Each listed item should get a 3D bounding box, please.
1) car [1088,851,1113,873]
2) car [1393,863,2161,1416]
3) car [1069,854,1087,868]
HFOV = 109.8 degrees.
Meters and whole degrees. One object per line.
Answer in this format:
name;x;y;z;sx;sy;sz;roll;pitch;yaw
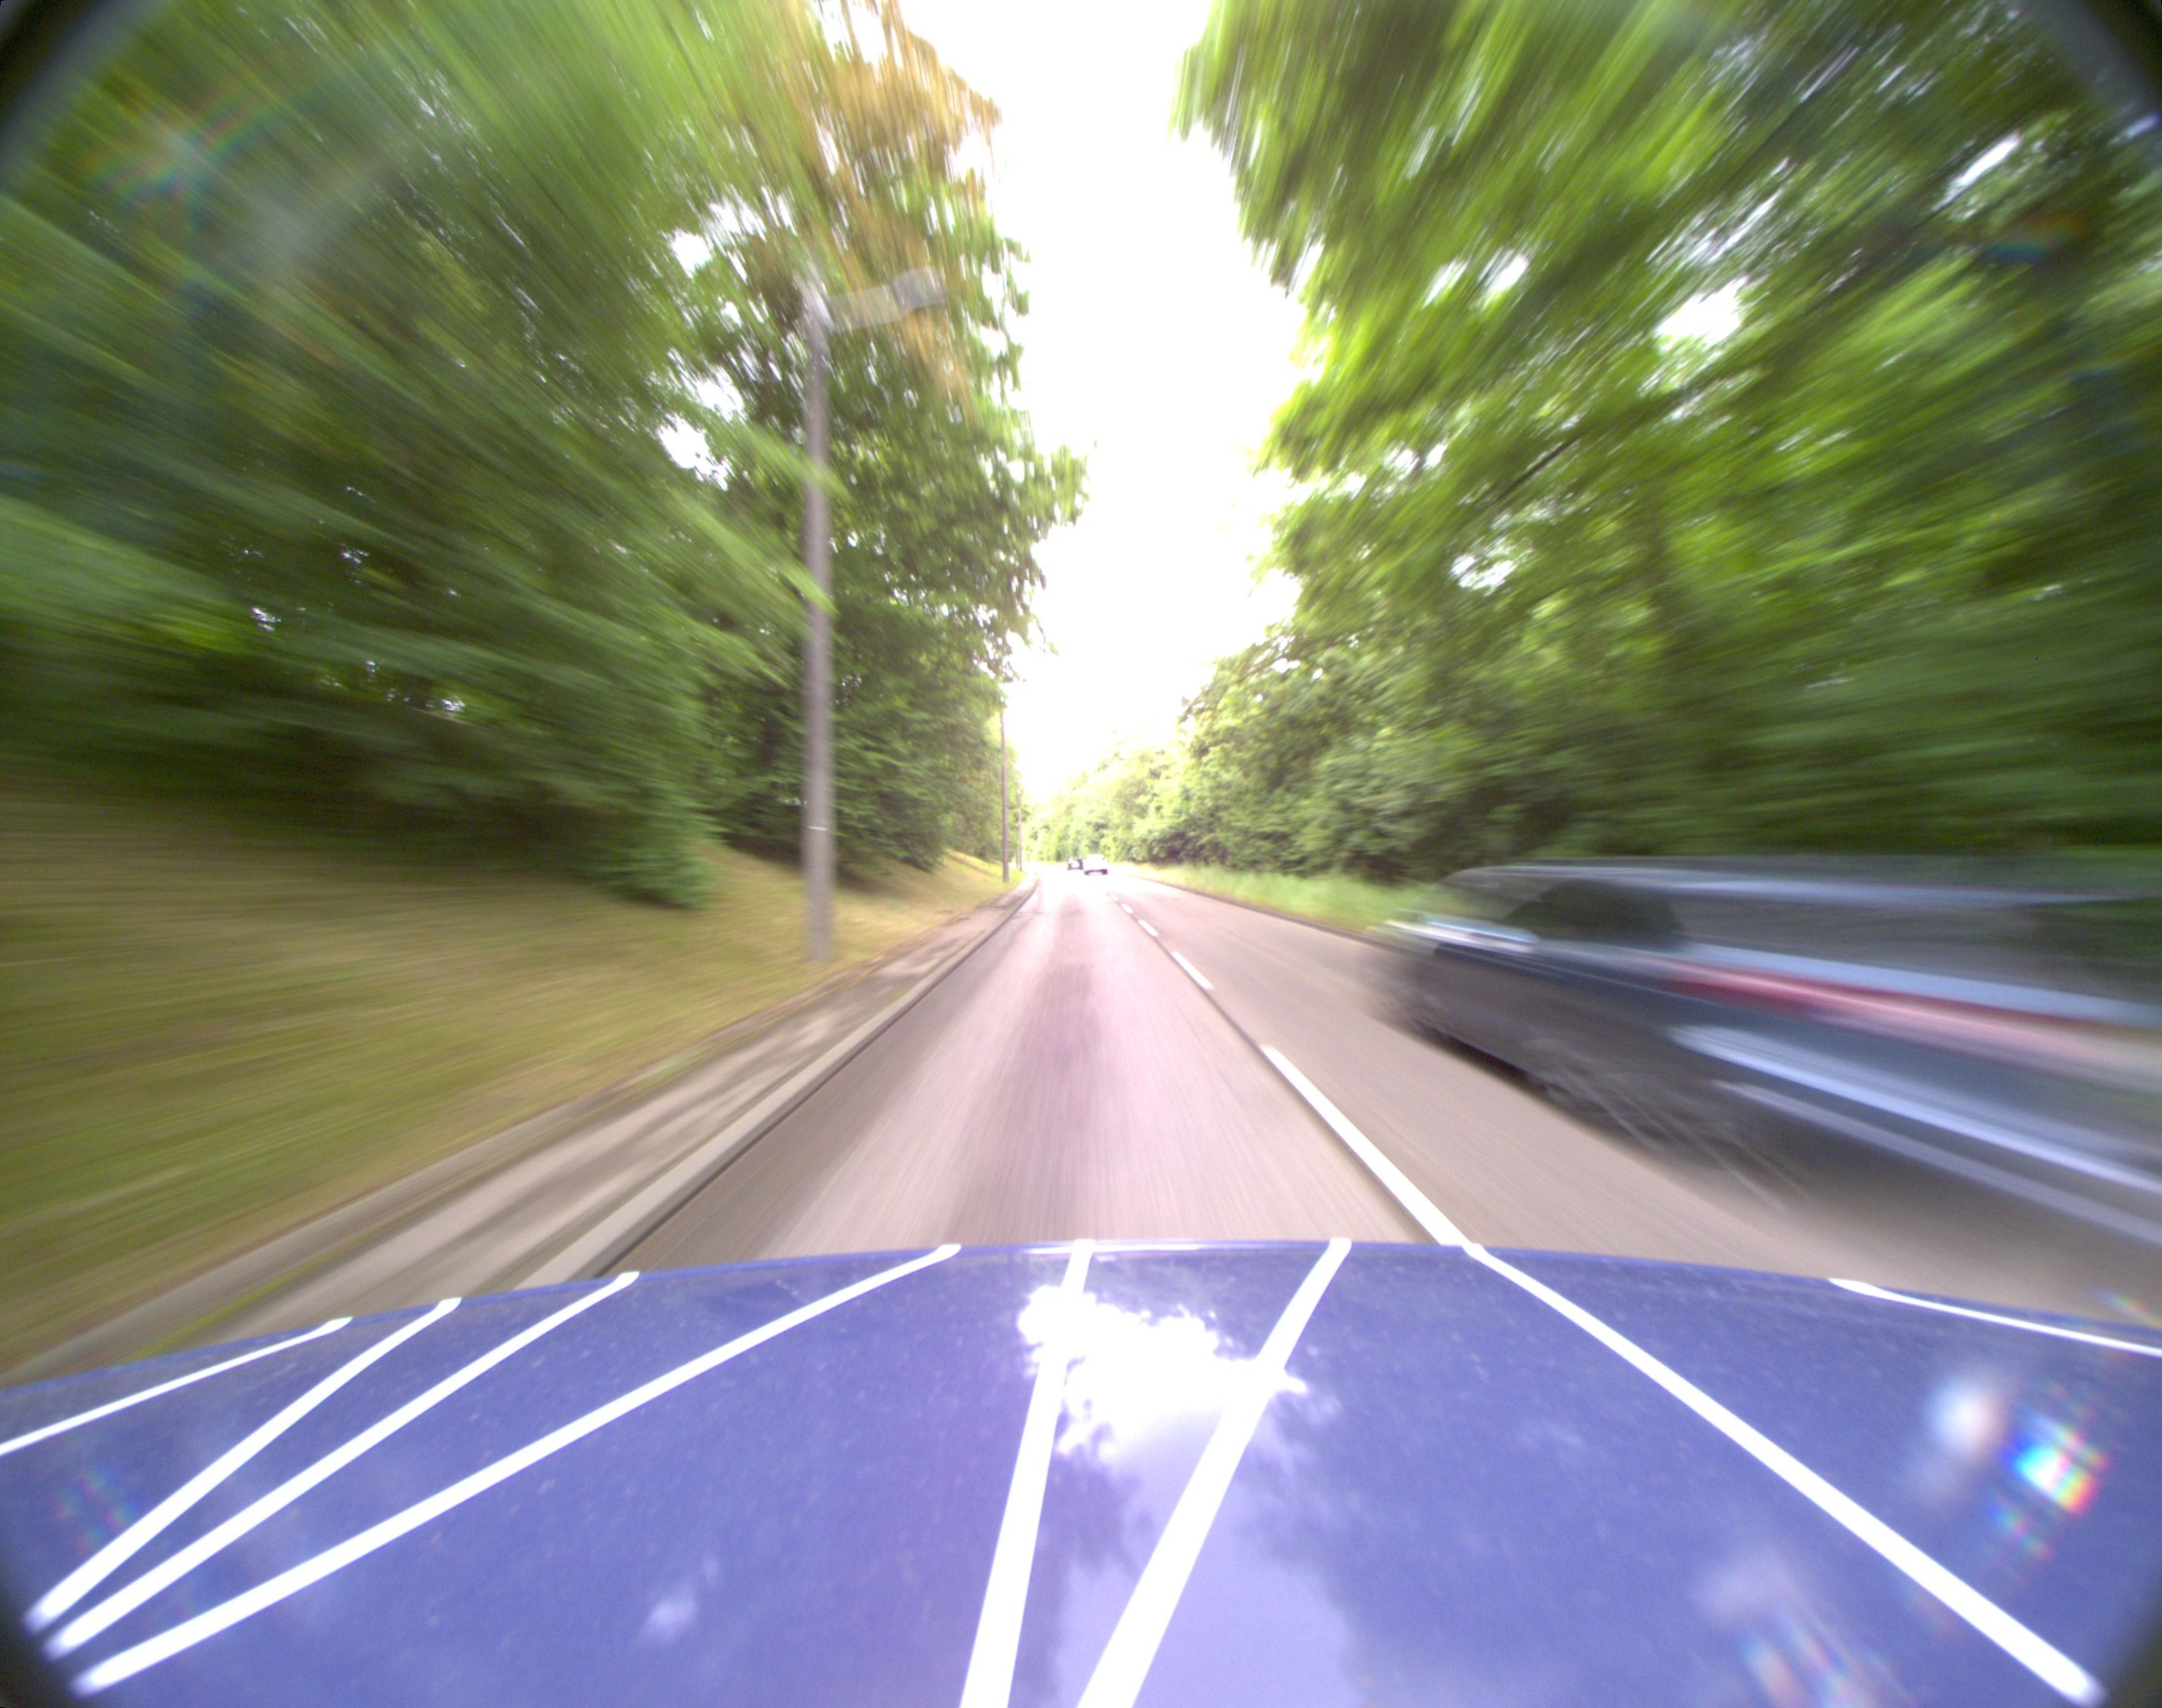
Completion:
car;1.624;0.683;65.467;1.824;1.685;4.286;-3;1;-2
car;3.567;0.866;4.219;1.998;1.429;3.999;-3;1;0
car;-0.396;0.852;91.345;2.035;1.499;4.593;-3;1;-2
